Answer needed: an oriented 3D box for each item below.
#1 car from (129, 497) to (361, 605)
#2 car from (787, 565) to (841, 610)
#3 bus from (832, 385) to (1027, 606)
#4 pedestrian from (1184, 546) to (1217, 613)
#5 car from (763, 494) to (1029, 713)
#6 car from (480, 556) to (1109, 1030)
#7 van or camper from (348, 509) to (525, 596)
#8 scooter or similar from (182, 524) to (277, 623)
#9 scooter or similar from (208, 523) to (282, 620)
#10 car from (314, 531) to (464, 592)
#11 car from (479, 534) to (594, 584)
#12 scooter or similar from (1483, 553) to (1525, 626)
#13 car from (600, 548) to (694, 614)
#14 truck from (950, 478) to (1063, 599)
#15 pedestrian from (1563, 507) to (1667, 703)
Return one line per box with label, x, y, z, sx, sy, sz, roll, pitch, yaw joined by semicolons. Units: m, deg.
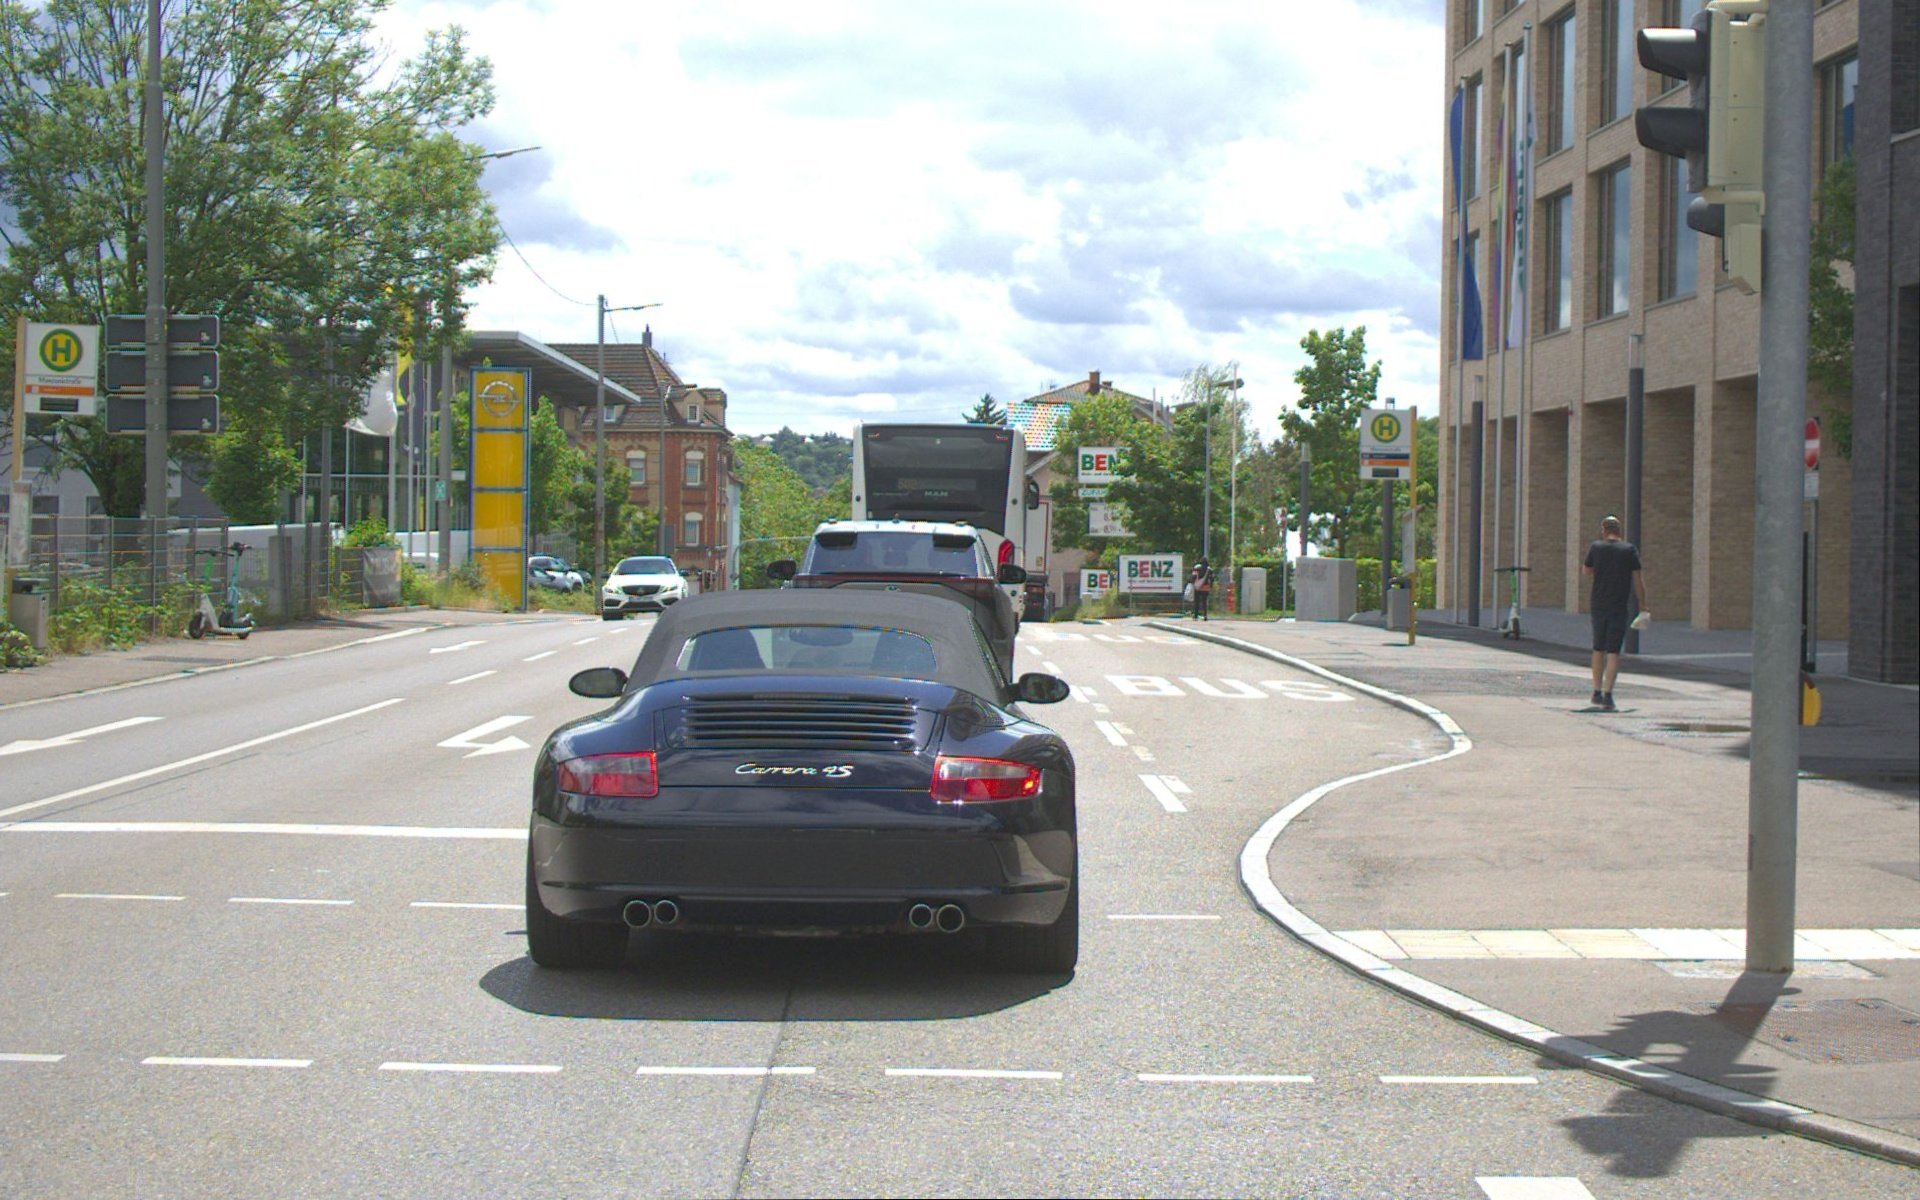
car;-14.034;-0.970;67.681;4.160;2.007;2.199;1;2;-3
car;-5.049;-0.412;118.532;1.829;1.504;4.277;0;0;-3
bus;-0.385;-1.699;56.391;2.802;3.187;12.196;1;2;1
pedestrian;5.587;-0.482;79.830;0.687;1.531;0.856;1;0;-1
car;-0.579;-0.024;27.446;1.930;1.577;4.209;1;1;-3
car;-0.512;0.574;12.805;1.930;1.372;4.208;1;2;0
van or camper;-15.897;-1.455;104.550;5.026;2.522;2.318;1;2;-1
scooter or similar;-9.537;-0.351;44.939;0.535;1.258;1.470;3;1;16
scooter or similar;-9.648;-0.394;46.436;0.535;1.262;1.471;2;1;4
car;-16.921;-1.149;101.929;3.987;1.700;2.000;1;2;5
car;-14.550;-1.391;118.369;1.933;1.567;4.548;1;-1;22
scooter or similar;8.734;-0.175;55.226;0.427;1.149;1.404;0;1;-1
car;-7.059;-0.449;77.791;1.796;1.372;4.225;0;2;-1
truck;1.167;-1.660;91.066;2.713;3.044;7.714;0;1;-1
pedestrian;5.907;0.036;31.029;0.683;1.722;0.962;2;1;-1
